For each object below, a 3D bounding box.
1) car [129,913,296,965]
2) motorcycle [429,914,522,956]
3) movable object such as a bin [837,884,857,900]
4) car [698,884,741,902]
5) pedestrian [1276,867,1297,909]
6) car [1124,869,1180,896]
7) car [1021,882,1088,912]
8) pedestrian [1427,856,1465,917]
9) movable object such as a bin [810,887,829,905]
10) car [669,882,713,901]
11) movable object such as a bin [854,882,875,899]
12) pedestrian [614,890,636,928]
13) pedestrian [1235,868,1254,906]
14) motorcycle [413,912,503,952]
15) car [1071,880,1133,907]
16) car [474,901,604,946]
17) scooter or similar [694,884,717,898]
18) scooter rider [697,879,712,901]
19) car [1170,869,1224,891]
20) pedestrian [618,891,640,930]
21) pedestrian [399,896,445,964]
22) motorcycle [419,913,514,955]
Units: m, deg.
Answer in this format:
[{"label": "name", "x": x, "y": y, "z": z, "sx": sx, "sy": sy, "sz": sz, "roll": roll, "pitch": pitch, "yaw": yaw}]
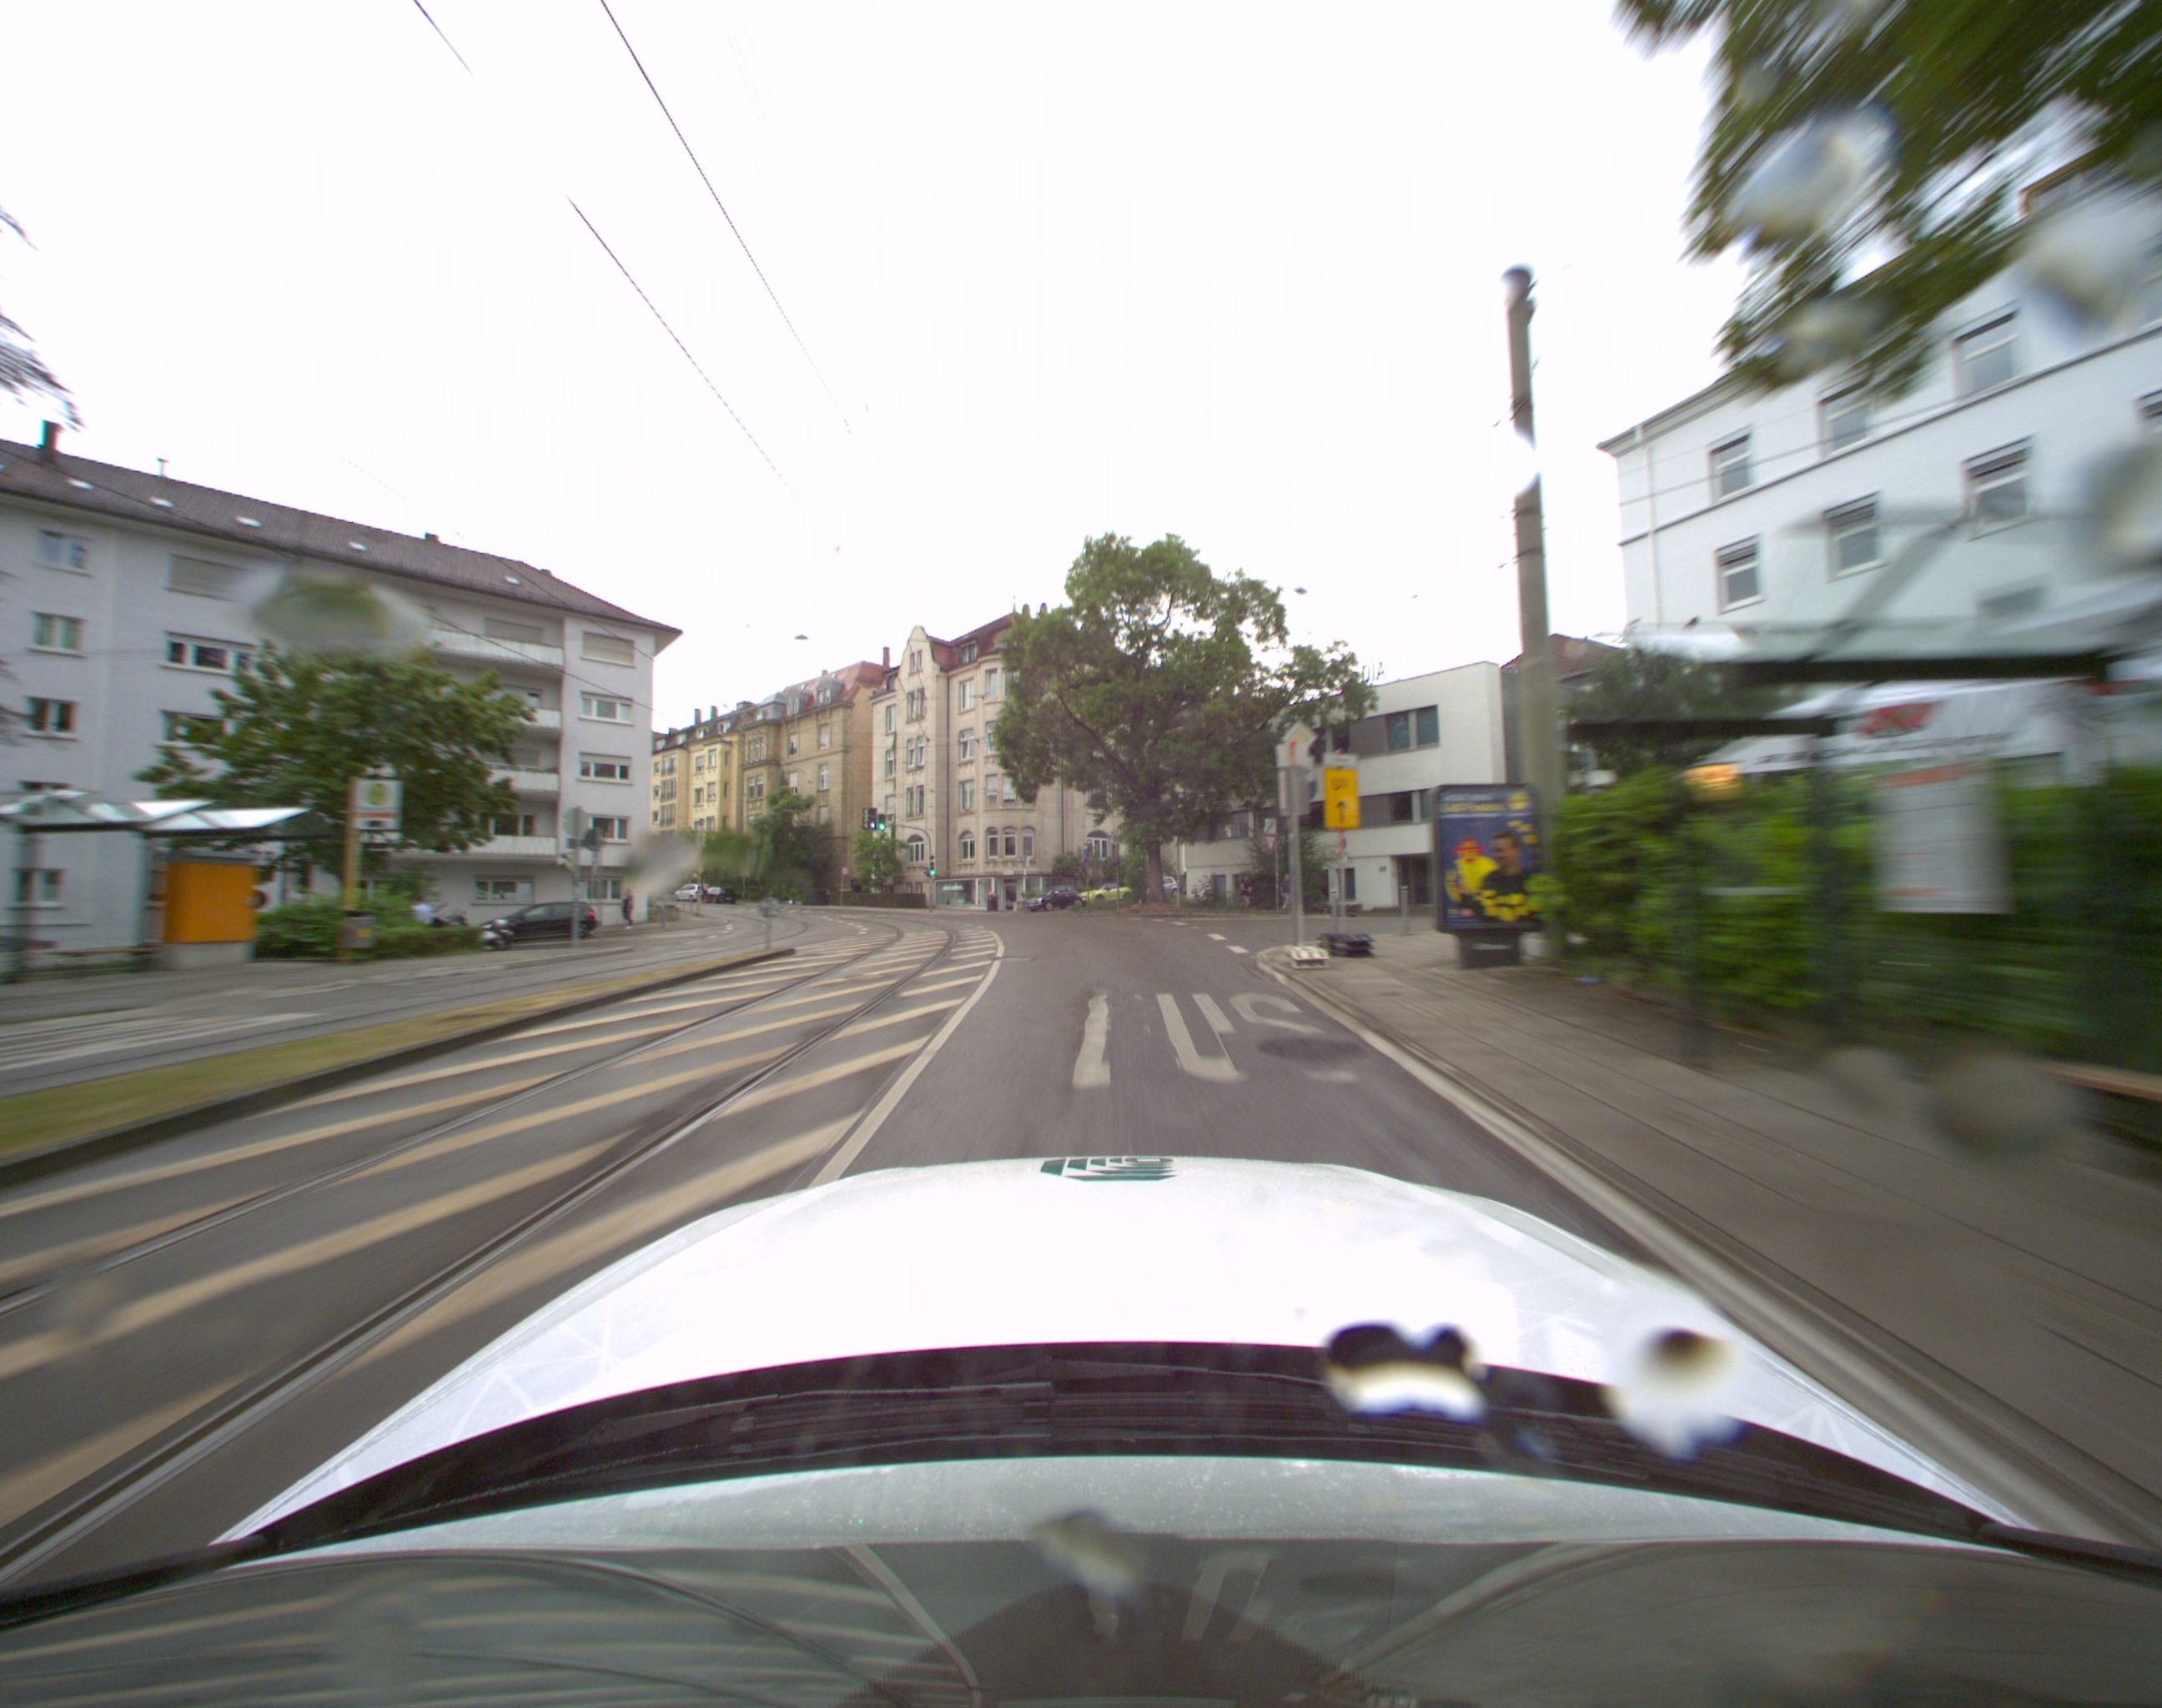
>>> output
[{"label": "car", "x": -29.142, "y": 2.794, "z": 27.484, "sx": 1.599, "sy": 1.441, "sz": 3.771, "roll": -3, "pitch": -3, "yaw": 44}, {"label": "motorcycle", "x": -17.923, "y": 2.372, "z": 24.152, "sx": 0.479, "sy": 1.049, "sz": 2.137, "roll": 1, "pitch": 0, "yaw": 40}, {"label": "movable object such as a bin", "x": -20.140, "y": 3.267, "z": 69.994, "sx": 1.153, "sy": 1.308, "sz": 1.229, "roll": -2, "pitch": -2, "yaw": 41}, {"label": "car", "x": -31.208, "y": 3.370, "z": 70.201, "sx": 3.949, "sy": 1.391, "sz": 1.782, "roll": 1, "pitch": -2, "yaw": 40}, {"label": "pedestrian", "x": 8.196, "y": 1.342, "z": 32.435, "sx": 0.547, "sy": 1.629, "sz": 0.596, "roll": 1, "pitch": 0, "yaw": -31}, {"label": "car", "x": 4.826, "y": 1.928, "z": 55.103, "sx": 3.796, "sy": 1.508, "sz": 1.603, "roll": -4, "pitch": -2, "yaw": -44}, {"label": "car", "x": -1.591, "y": 2.570, "z": 49.138, "sx": 3.689, "sy": 1.508, "sz": 1.717, "roll": -2, "pitch": -1, "yaw": -40}, {"label": "pedestrian", "x": 10.363, "y": 0.922, "z": 23.141, "sx": 0.748, "sy": 1.700, "sz": 0.666, "roll": 0, "pitch": -2, "yaw": -36}, {"label": "movable object such as a bin", "x": -21.706, "y": 3.459, "z": 67.630, "sx": 0.812, "sy": 1.403, "sz": 1.237, "roll": 1, "pitch": 0, "yaw": 34}, {"label": "car", "x": -35.144, "y": 3.327, "z": 73.422, "sx": 4.233, "sy": 1.604, "sz": 1.782, "roll": -1, "pitch": -2, "yaw": 36}, {"label": "movable object such as a bin", "x": -18.954, "y": 3.213, "z": 71.356, "sx": 1.291, "sy": 1.425, "sz": 1.242, "roll": -2, "pitch": -1, "yaw": 41}, {"label": "pedestrian", "x": -21.132, "y": 2.524, "z": 37.758, "sx": 0.749, "sy": 1.700, "sz": 0.665, "roll": 1, "pitch": 0, "yaw": -43}, {"label": "pedestrian", "x": 6.773, "y": 1.364, "z": 33.719, "sx": 0.599, "sy": 1.566, "sz": 0.544, "roll": 1, "pitch": 0, "yaw": -8}, {"label": "motorcycle", "x": -19.178, "y": 2.390, "z": 25.126, "sx": 0.479, "sy": 1.049, "sz": 2.137, "roll": 1, "pitch": 0, "yaw": 40}, {"label": "car", "x": 1.328, "y": 2.475, "z": 51.724, "sx": 3.690, "sy": 1.508, "sz": 1.717, "roll": -2, "pitch": -1, "yaw": -40}, {"label": "car", "x": -22.425, "y": 2.820, "z": 33.780, "sx": 4.276, "sy": 1.454, "sz": 1.833, "roll": 0, "pitch": 1, "yaw": -43}, {"label": "scooter or similar", "x": -30.819, "y": 3.039, "z": 66.833, "sx": 1.983, "sy": 1.050, "sz": 0.518, "roll": 0, "pitch": -5, "yaw": 29}, {"label": "scooter rider", "x": -30.891, "y": 2.958, "z": 66.887, "sx": 0.833, "sy": 1.706, "sz": 0.628, "roll": 1, "pitch": -5, "yaw": 29}, {"label": "car", "x": 8.428, "y": 1.881, "z": 59.066, "sx": 3.915, "sy": 1.508, "sz": 1.605, "roll": 1, "pitch": -5, "yaw": -38}, {"label": "pedestrian", "x": -20.631, "y": 2.572, "z": 37.196, "sx": 0.749, "sy": 1.700, "sz": 0.665, "roll": 1, "pitch": 0, "yaw": -40}, {"label": "pedestrian", "x": -17.098, "y": 1.956, "z": 21.137, "sx": 0.567, "sy": 1.684, "sz": 0.774, "roll": -2, "pitch": -2, "yaw": -5}, {"label": "motorcycle", "x": -17.671, "y": 2.280, "z": 23.474, "sx": 0.479, "sy": 1.049, "sz": 2.137, "roll": -1, "pitch": -1, "yaw": 40}]
